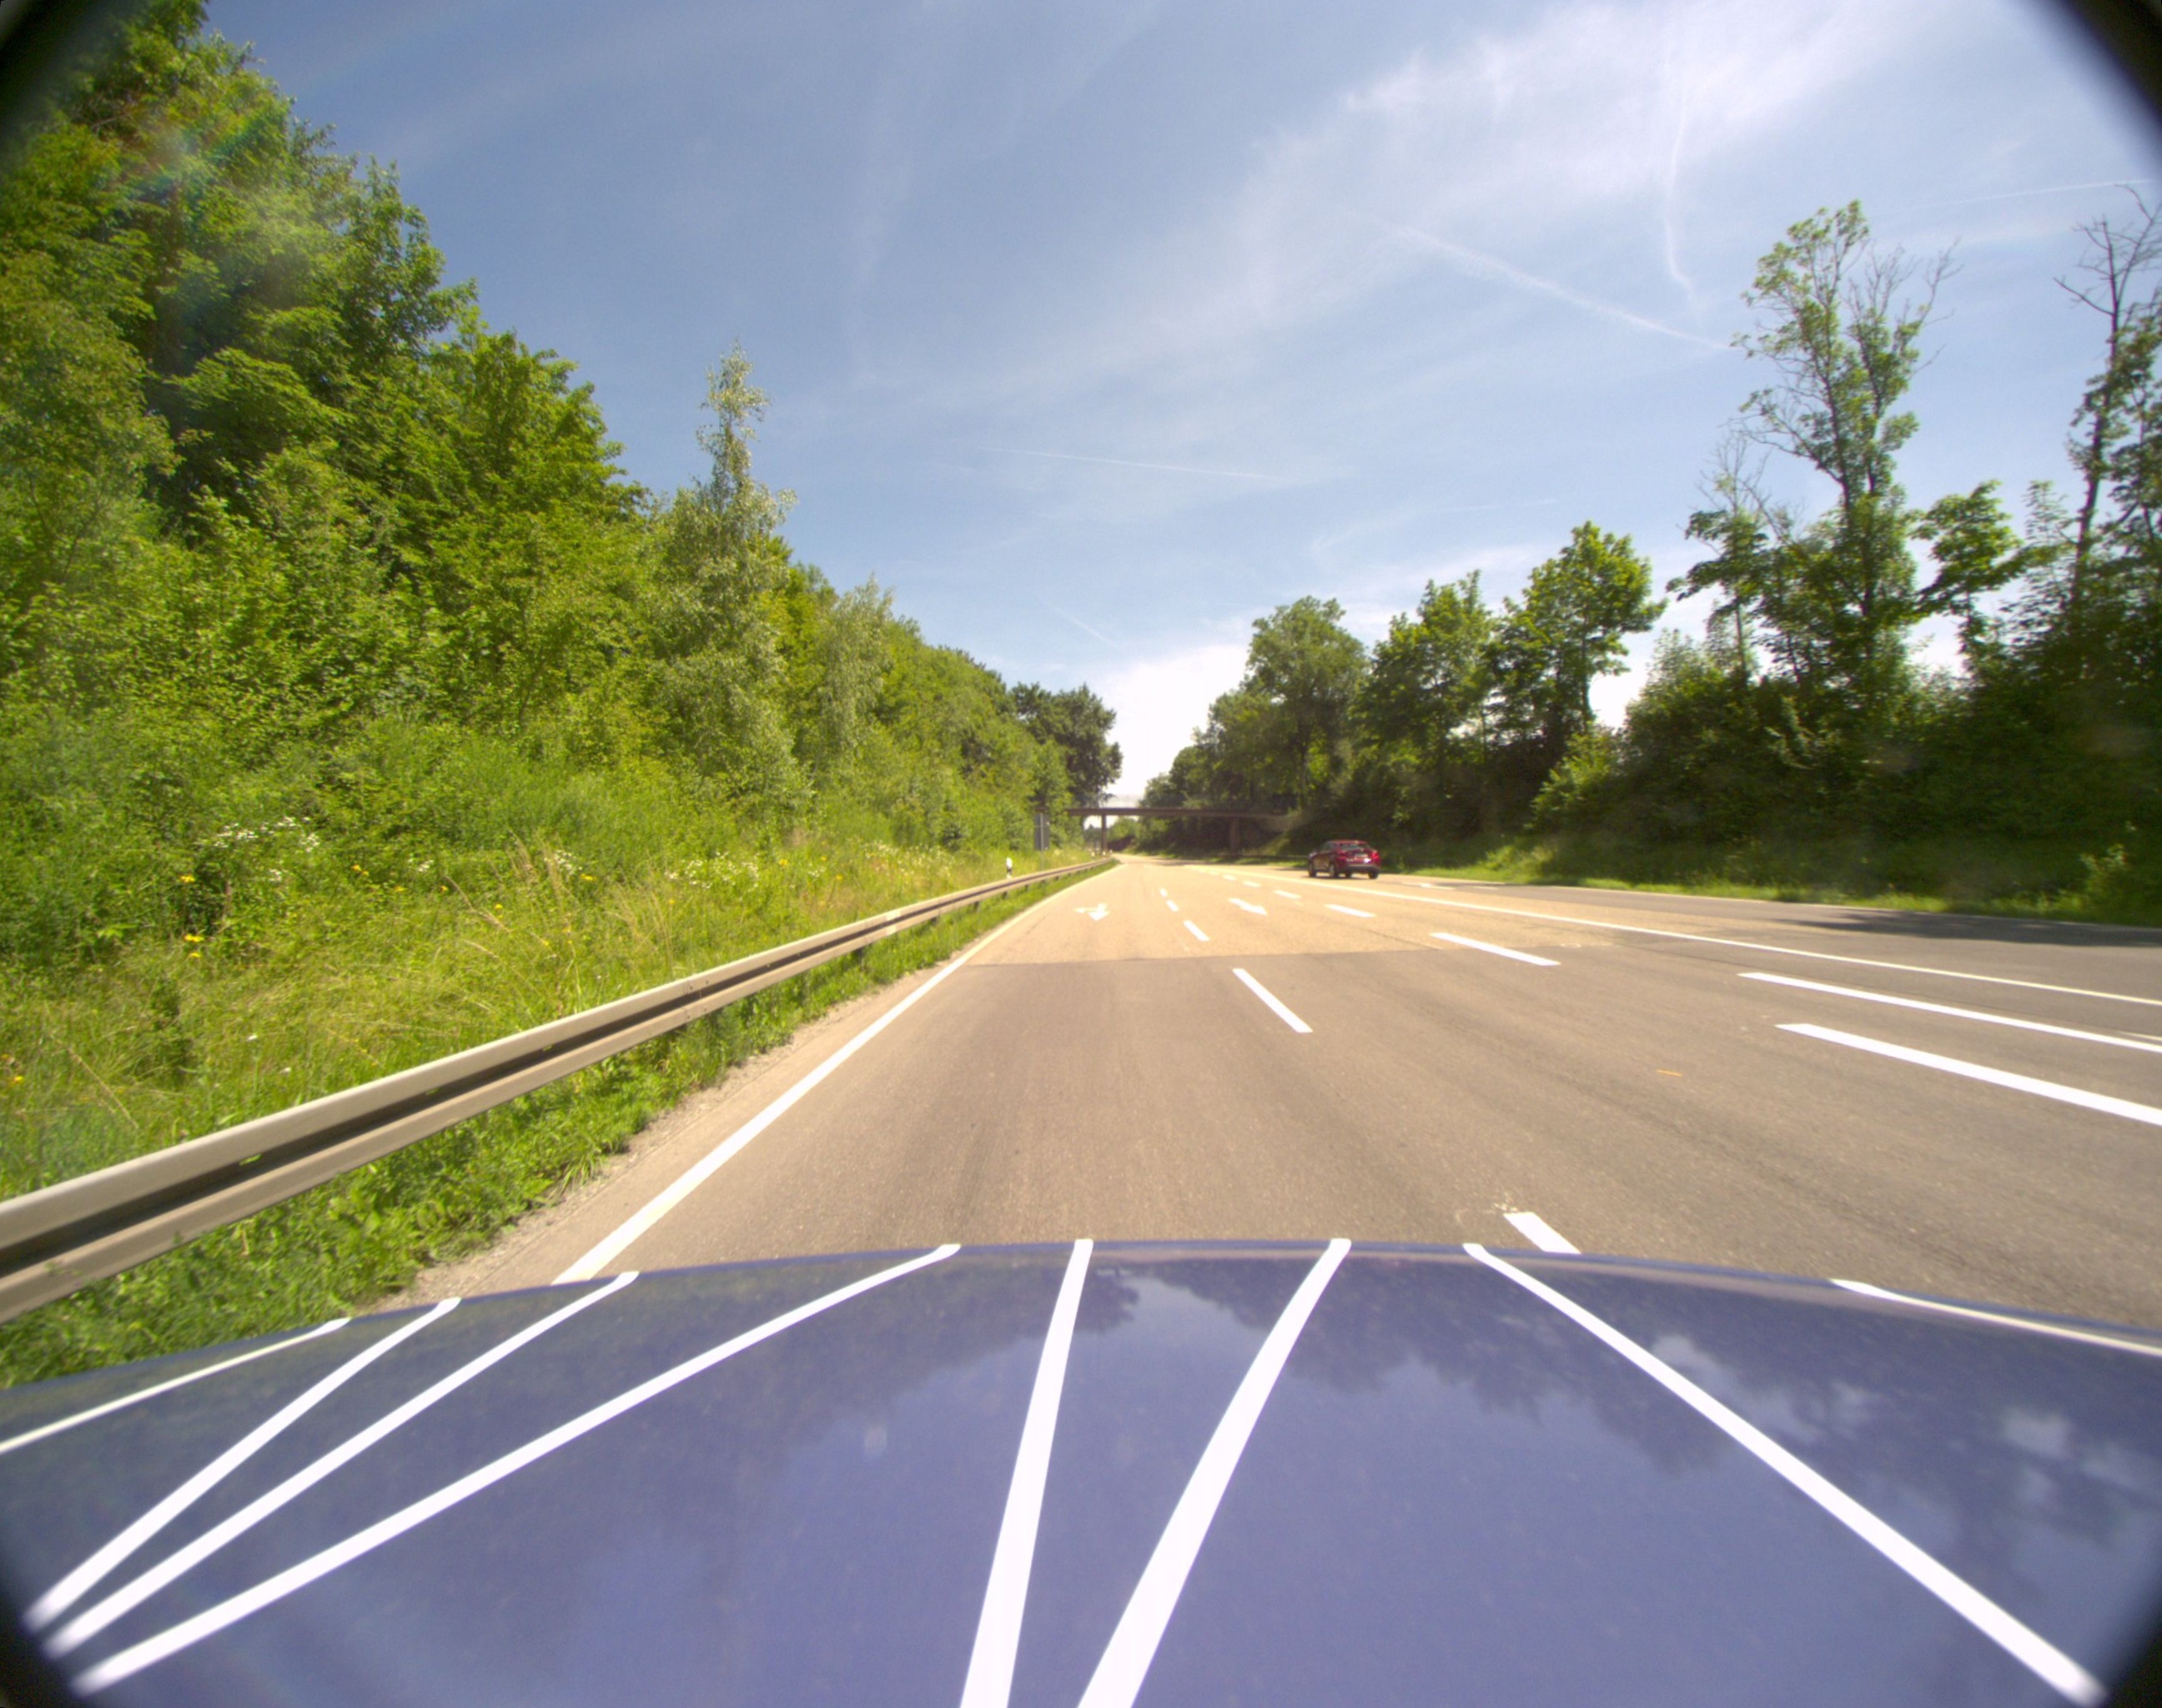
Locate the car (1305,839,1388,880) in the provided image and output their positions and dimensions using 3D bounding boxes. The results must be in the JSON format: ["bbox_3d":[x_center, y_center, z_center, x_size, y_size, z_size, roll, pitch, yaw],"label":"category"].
[{"bbox_3d":[10.694,0.185,30.943,1.908,1.500,3.763,-2,1,-2],"label":"car"}]
